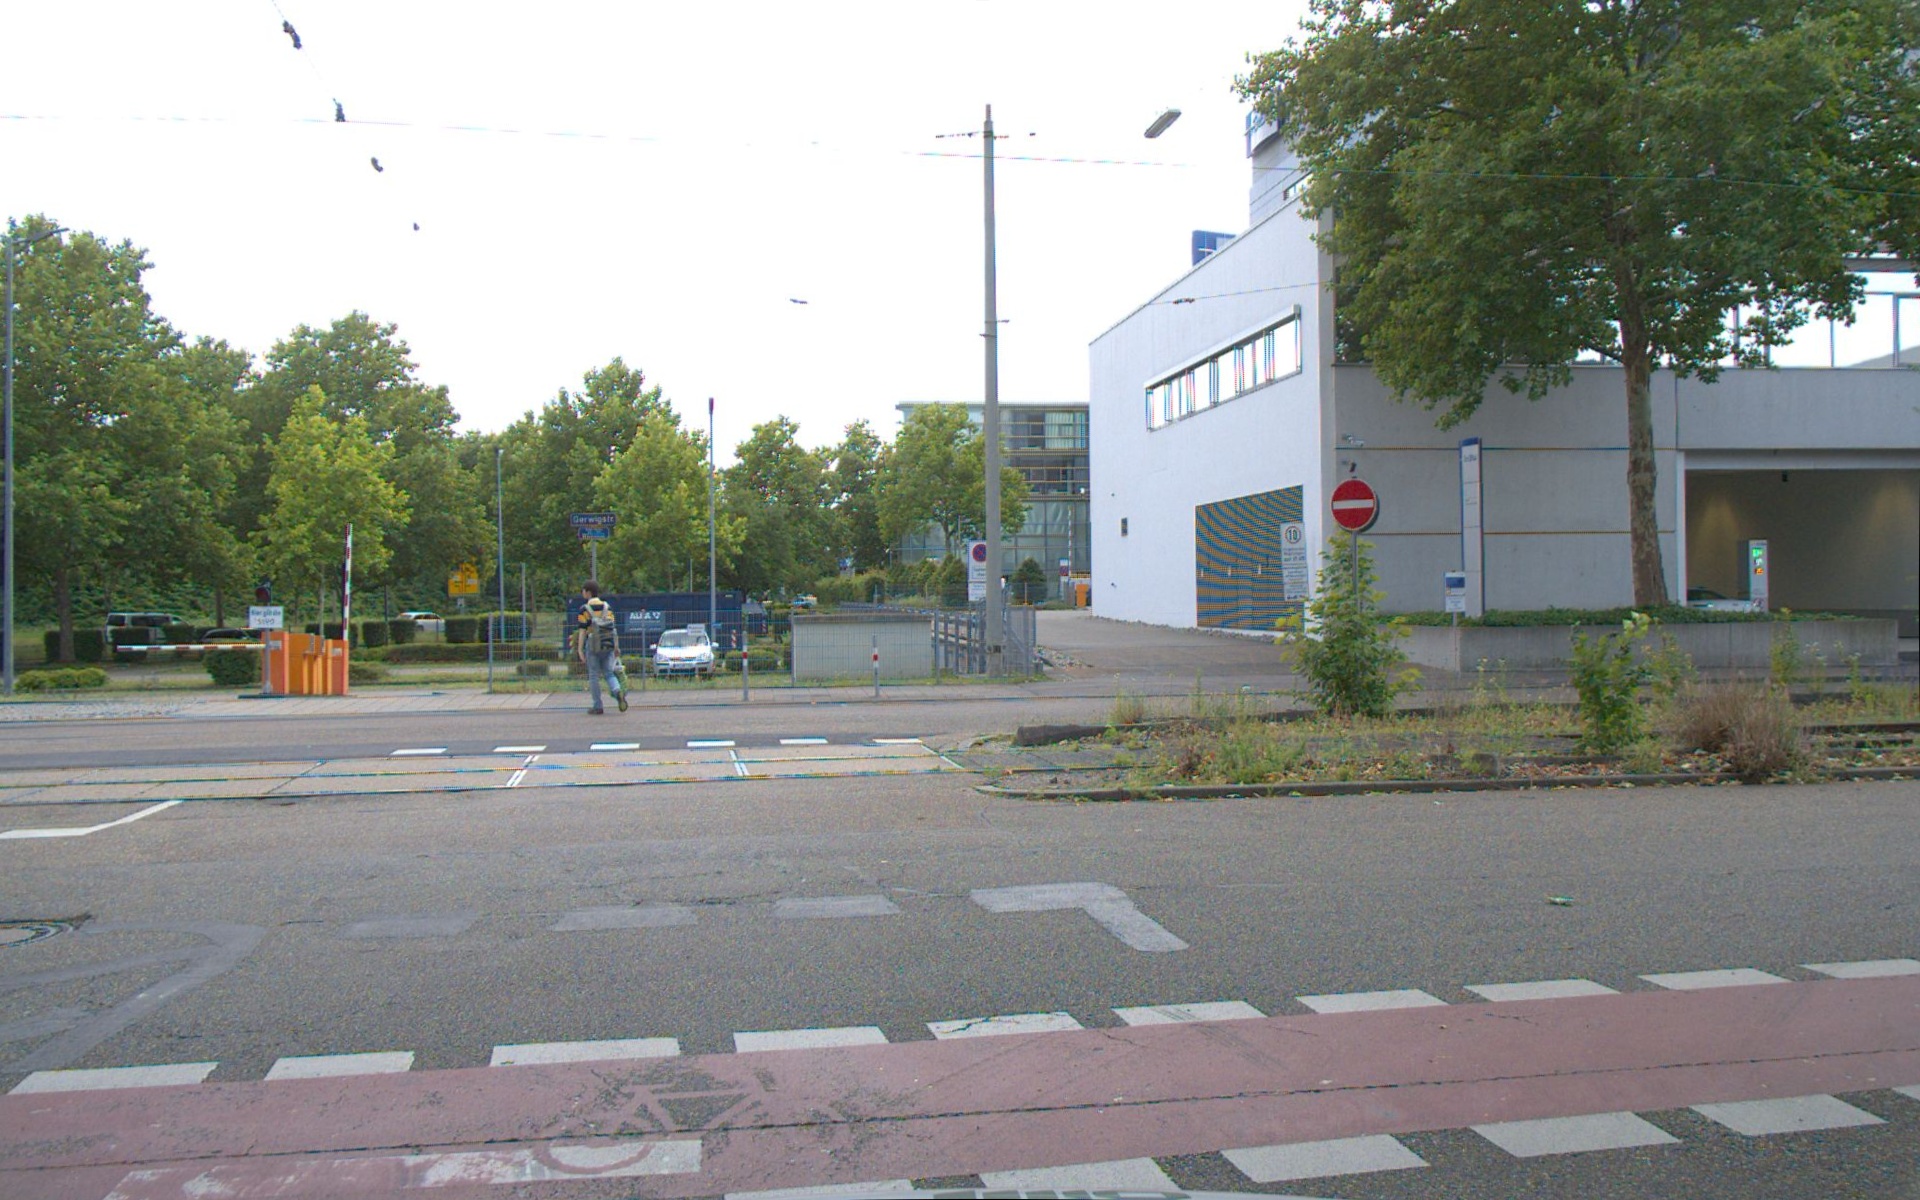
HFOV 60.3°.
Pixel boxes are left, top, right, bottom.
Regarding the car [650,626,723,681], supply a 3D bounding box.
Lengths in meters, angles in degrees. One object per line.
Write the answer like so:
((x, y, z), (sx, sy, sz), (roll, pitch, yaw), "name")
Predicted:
((-7.895, 1.514, 48.073), (1.894, 1.427, 4.074), (-1, 0, -7), "car")

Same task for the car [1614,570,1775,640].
((18.138, 0.131, 41.032), (1.793, 1.606, 4.041), (-1, 0, -7), "car")

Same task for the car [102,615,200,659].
((-42.741, 1.941, 87.446), (1.817, 2.173, 4.568), (-1, 0, 23), "car")

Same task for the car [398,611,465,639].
((-35.044, 1.630, 109.786), (1.876, 1.751, 4.298), (-1, 0, 24), "car")

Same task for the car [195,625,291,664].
((-33.086, 2.030, 76.282), (3.906, 1.731, 1.909), (-1, 0, 24), "car")

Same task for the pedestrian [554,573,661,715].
((-4.833, 0.586, 22.664), (0.994, 1.881, 1.212), (0, 0, -39), "pedestrian")
